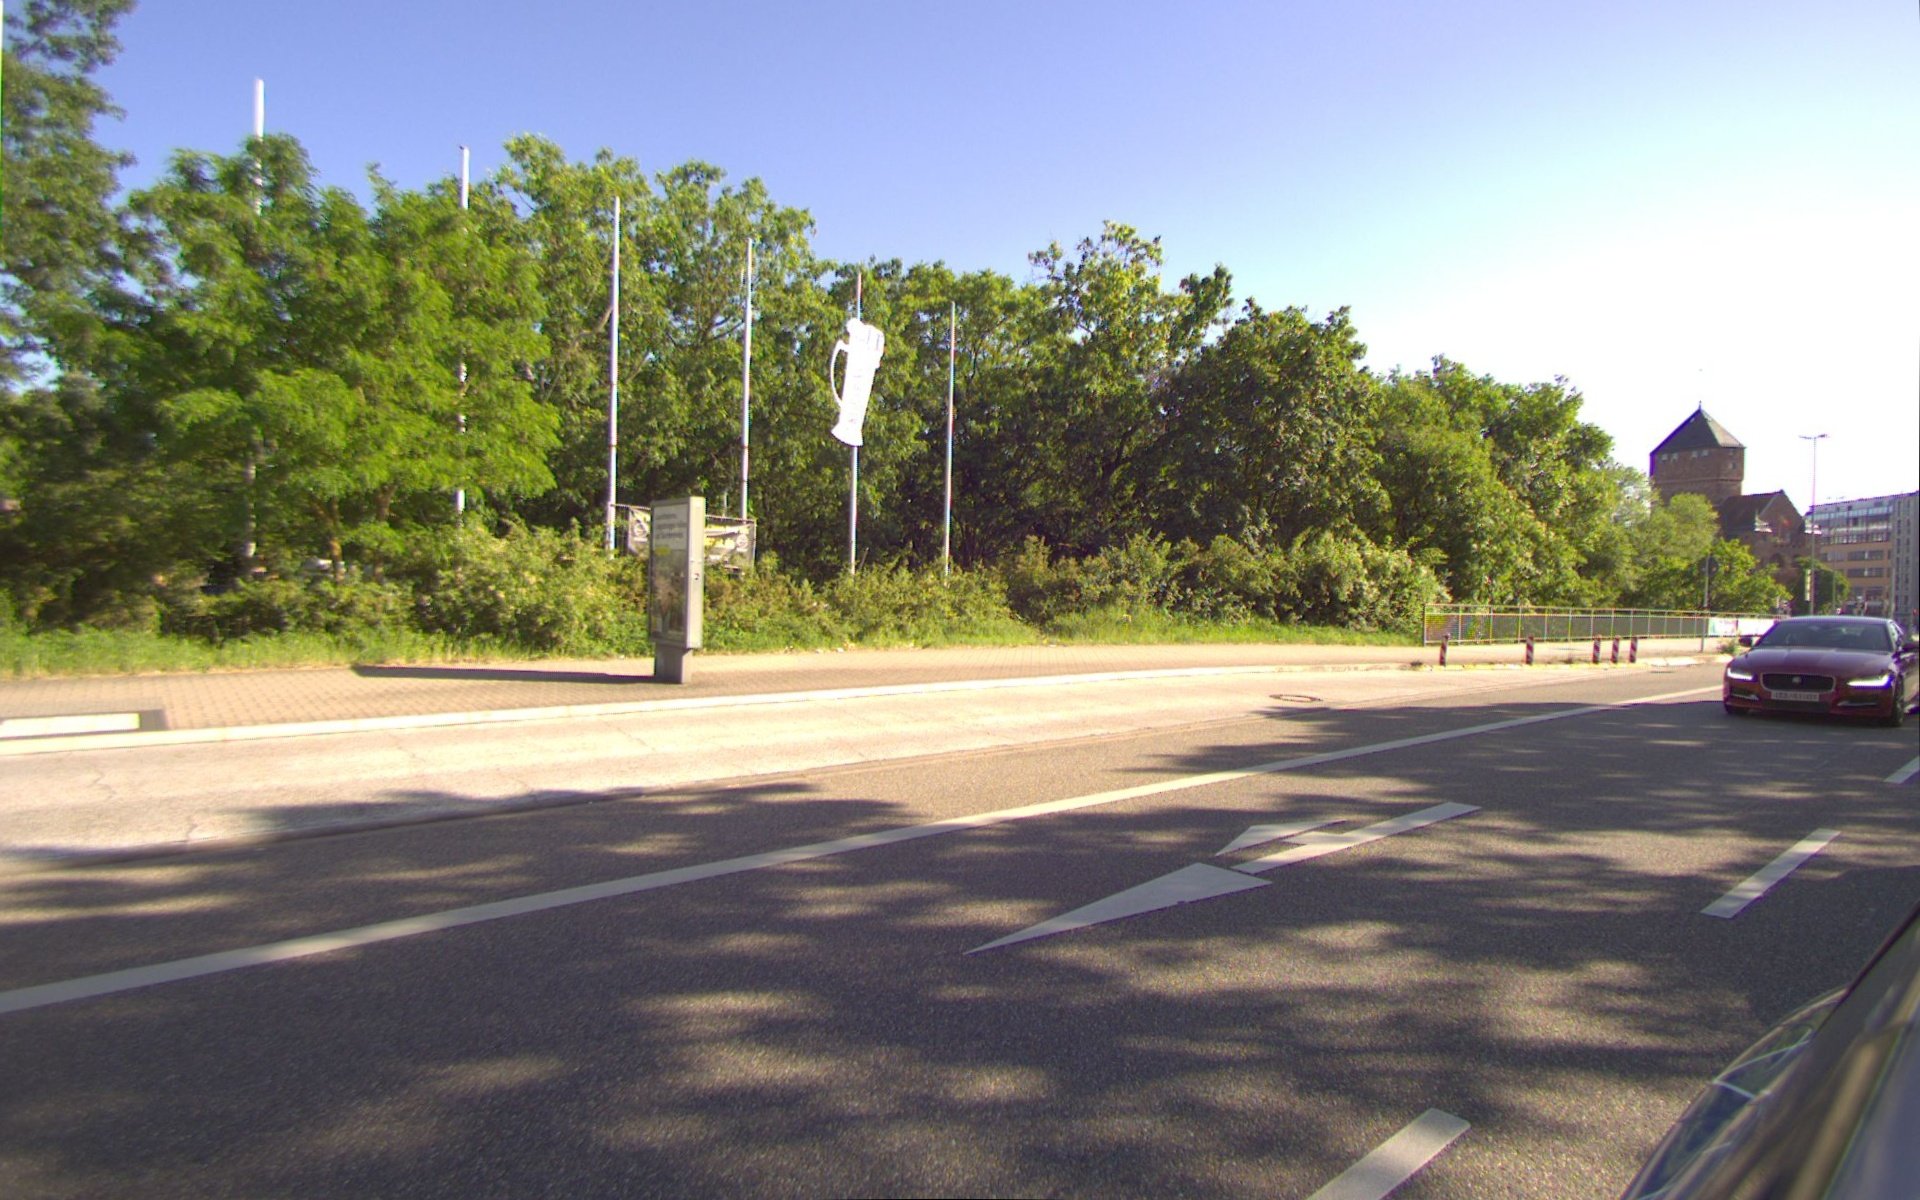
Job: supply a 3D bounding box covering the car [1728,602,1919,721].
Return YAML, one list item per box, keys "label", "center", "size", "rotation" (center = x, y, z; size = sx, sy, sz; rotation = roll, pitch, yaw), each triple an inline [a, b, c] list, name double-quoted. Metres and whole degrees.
- label: "car"
  center: [12.715, 0.781, 14.508]
  size: [4.309, 1.446, 1.890]
  rotation: [1, -1, -41]
